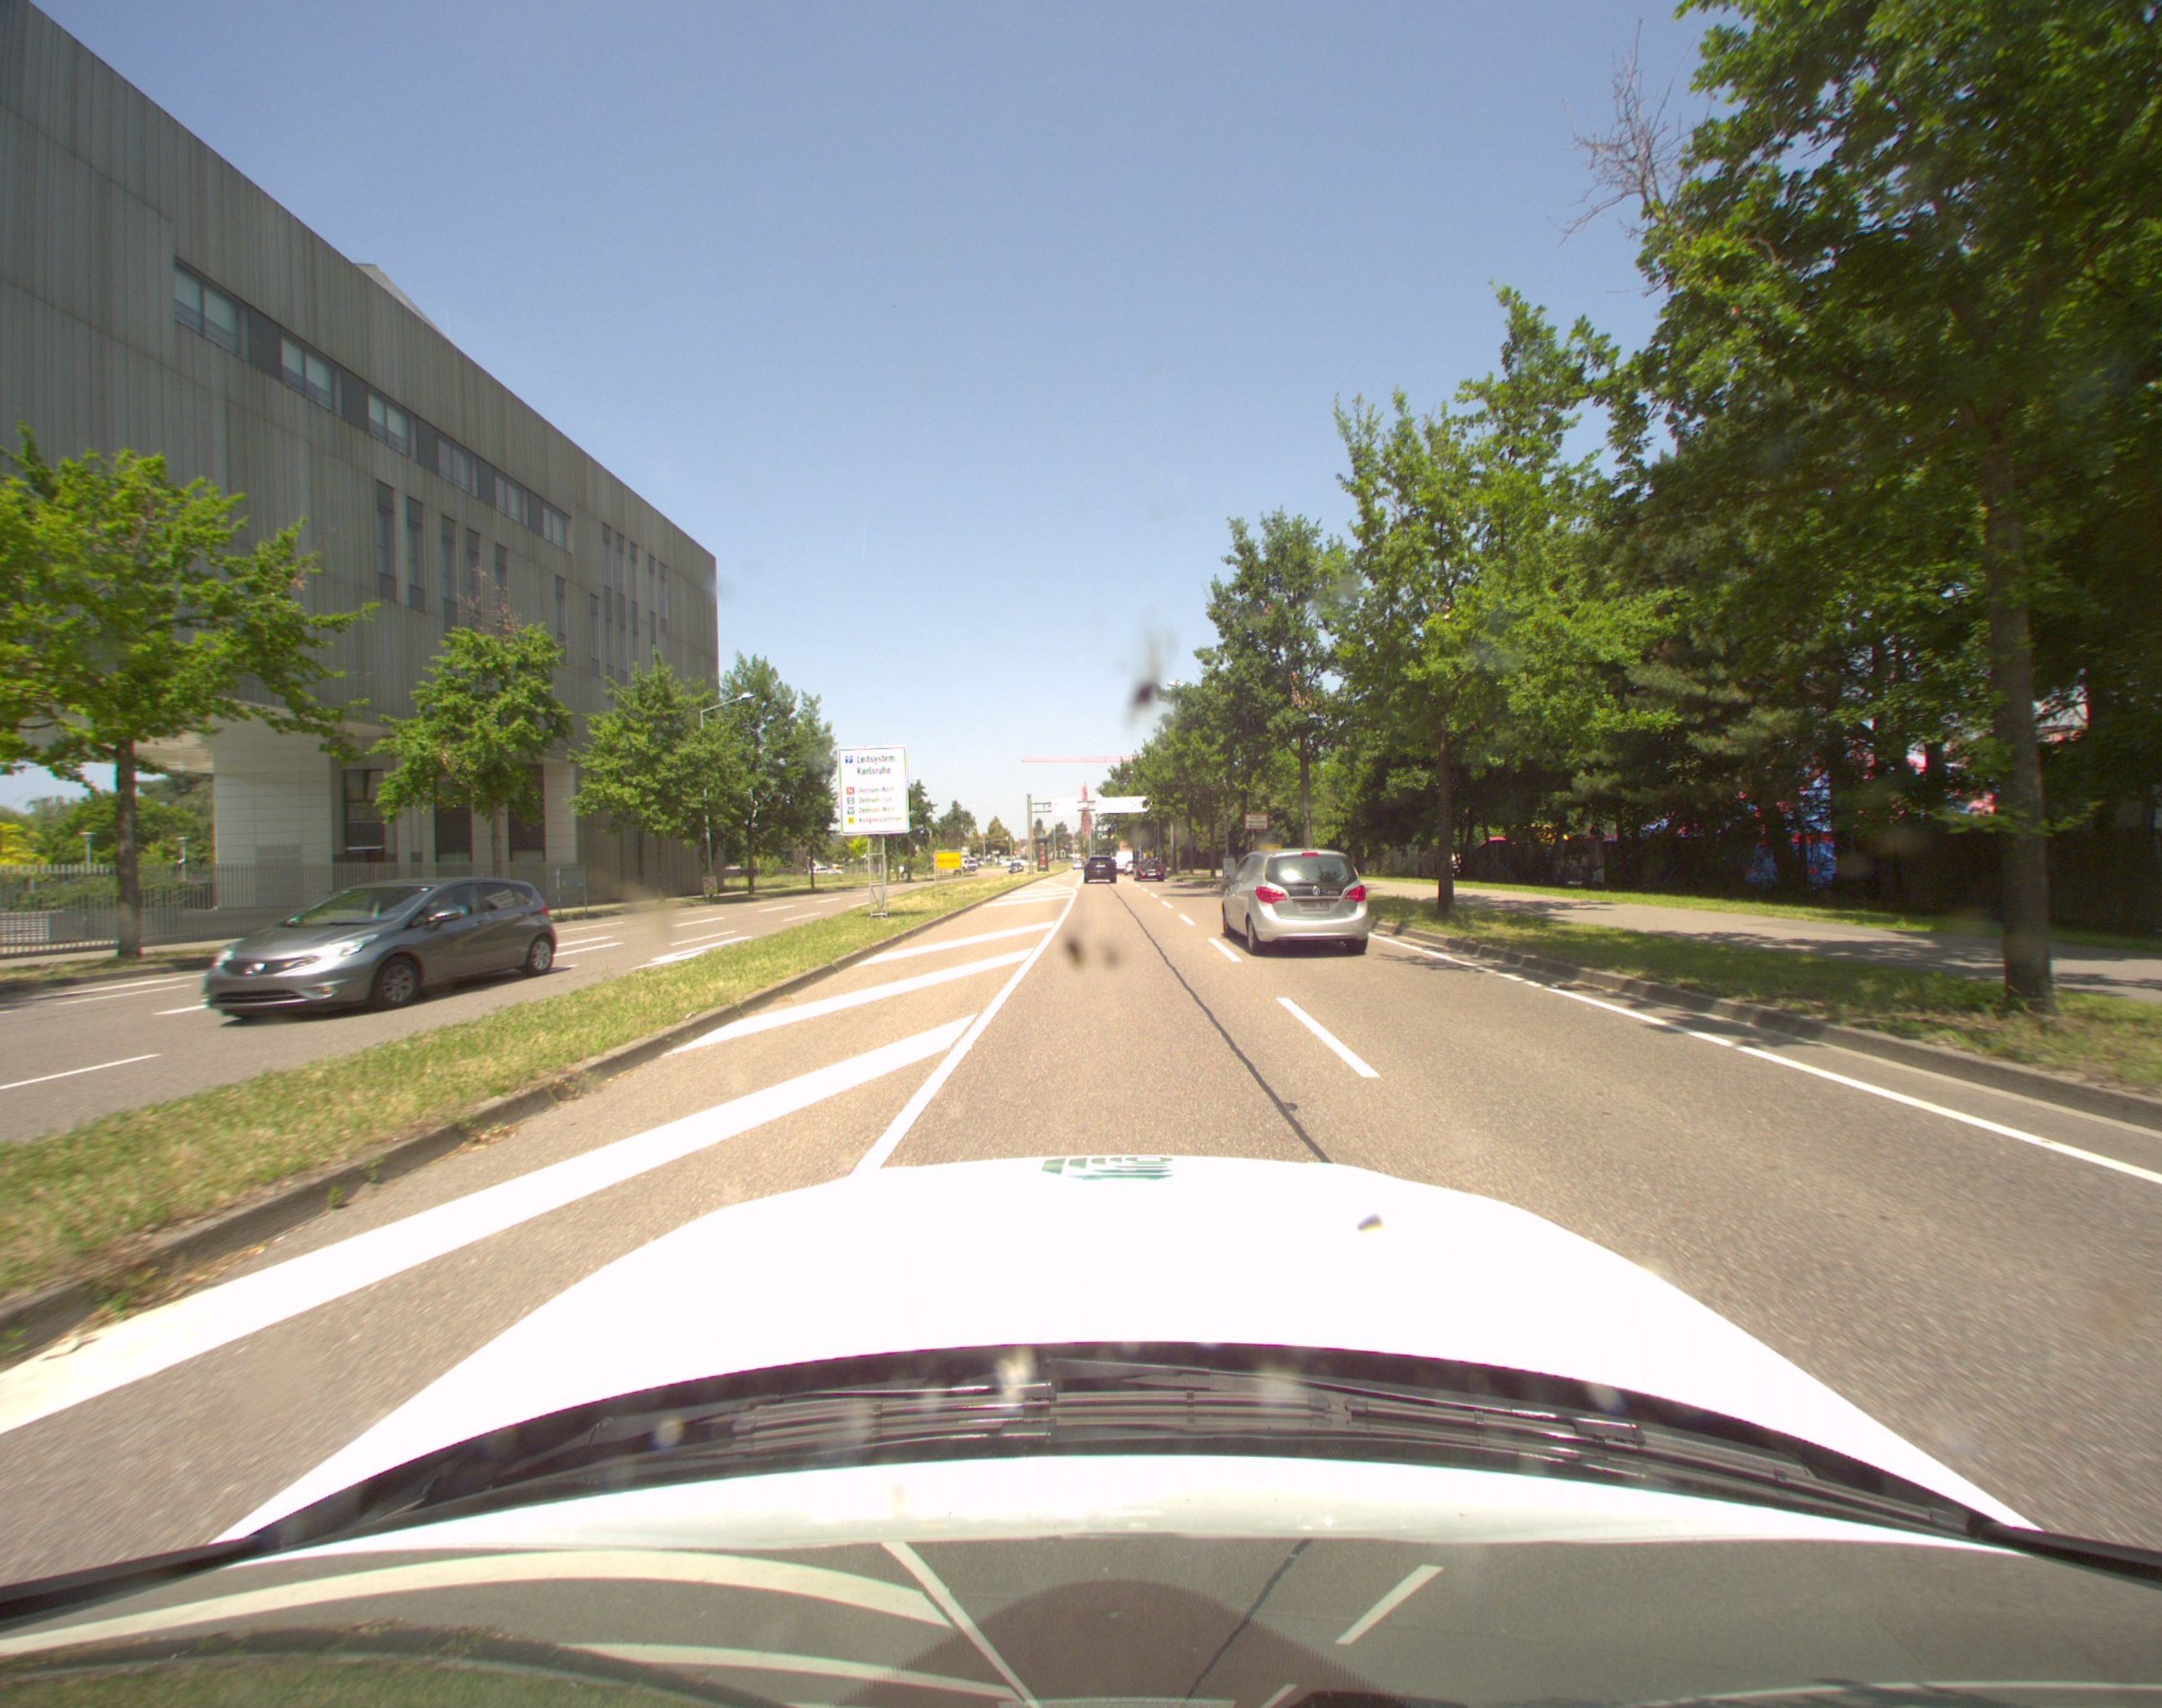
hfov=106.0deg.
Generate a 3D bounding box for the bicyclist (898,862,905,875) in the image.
[{"bbox_3d":[-22.084,1.787,100.387,0.620,1.489,0.757,-2,-1,3],"label":"bicyclist"}]

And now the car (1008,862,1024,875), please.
[{"bbox_3d":[-8.857,2.014,111.995,1.887,1.610,4.532,-2,0,-1],"label":"car"}]

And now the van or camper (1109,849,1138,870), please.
[{"bbox_3d":[4.853,0.625,93.970,2.491,2.291,4.909,-2,-1,-7],"label":"van or camper"}]

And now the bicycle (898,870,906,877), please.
[{"bbox_3d":[-22.063,2.404,100.434,0.479,0.715,1.852,-2,-1,4],"label":"bicycle"}]

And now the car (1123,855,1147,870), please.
[{"bbox_3d":[5.226,0.807,79.068,1.652,1.356,4.452,-2,0,-5],"label":"car"}]

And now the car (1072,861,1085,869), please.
[{"bbox_3d":[-0.464,1.850,136.781,1.989,1.321,3.995,-1,0,-4],"label":"car"}]

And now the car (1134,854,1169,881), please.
[{"bbox_3d":[4.400,0.823,51.590,2.006,1.517,4.463,-2,0,2],"label":"car"}]

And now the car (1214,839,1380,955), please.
[{"bbox_3d":[3.353,0.606,13.386,1.785,1.612,3.892,-1,0,2],"label":"car"}]

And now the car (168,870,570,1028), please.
[{"bbox_3d":[-8.680,1.032,10.495,1.703,1.471,3.939,-3,0,-1],"label":"car"}]

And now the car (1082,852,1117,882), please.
[{"bbox_3d":[1.153,0.757,48.792,1.990,1.689,4.035,-1,0,2],"label":"car"}]

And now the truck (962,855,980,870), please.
[{"bbox_3d":[-20.800,1.584,154.793,2.631,2.576,6.314,-2,0,-1],"label":"truck"}]
